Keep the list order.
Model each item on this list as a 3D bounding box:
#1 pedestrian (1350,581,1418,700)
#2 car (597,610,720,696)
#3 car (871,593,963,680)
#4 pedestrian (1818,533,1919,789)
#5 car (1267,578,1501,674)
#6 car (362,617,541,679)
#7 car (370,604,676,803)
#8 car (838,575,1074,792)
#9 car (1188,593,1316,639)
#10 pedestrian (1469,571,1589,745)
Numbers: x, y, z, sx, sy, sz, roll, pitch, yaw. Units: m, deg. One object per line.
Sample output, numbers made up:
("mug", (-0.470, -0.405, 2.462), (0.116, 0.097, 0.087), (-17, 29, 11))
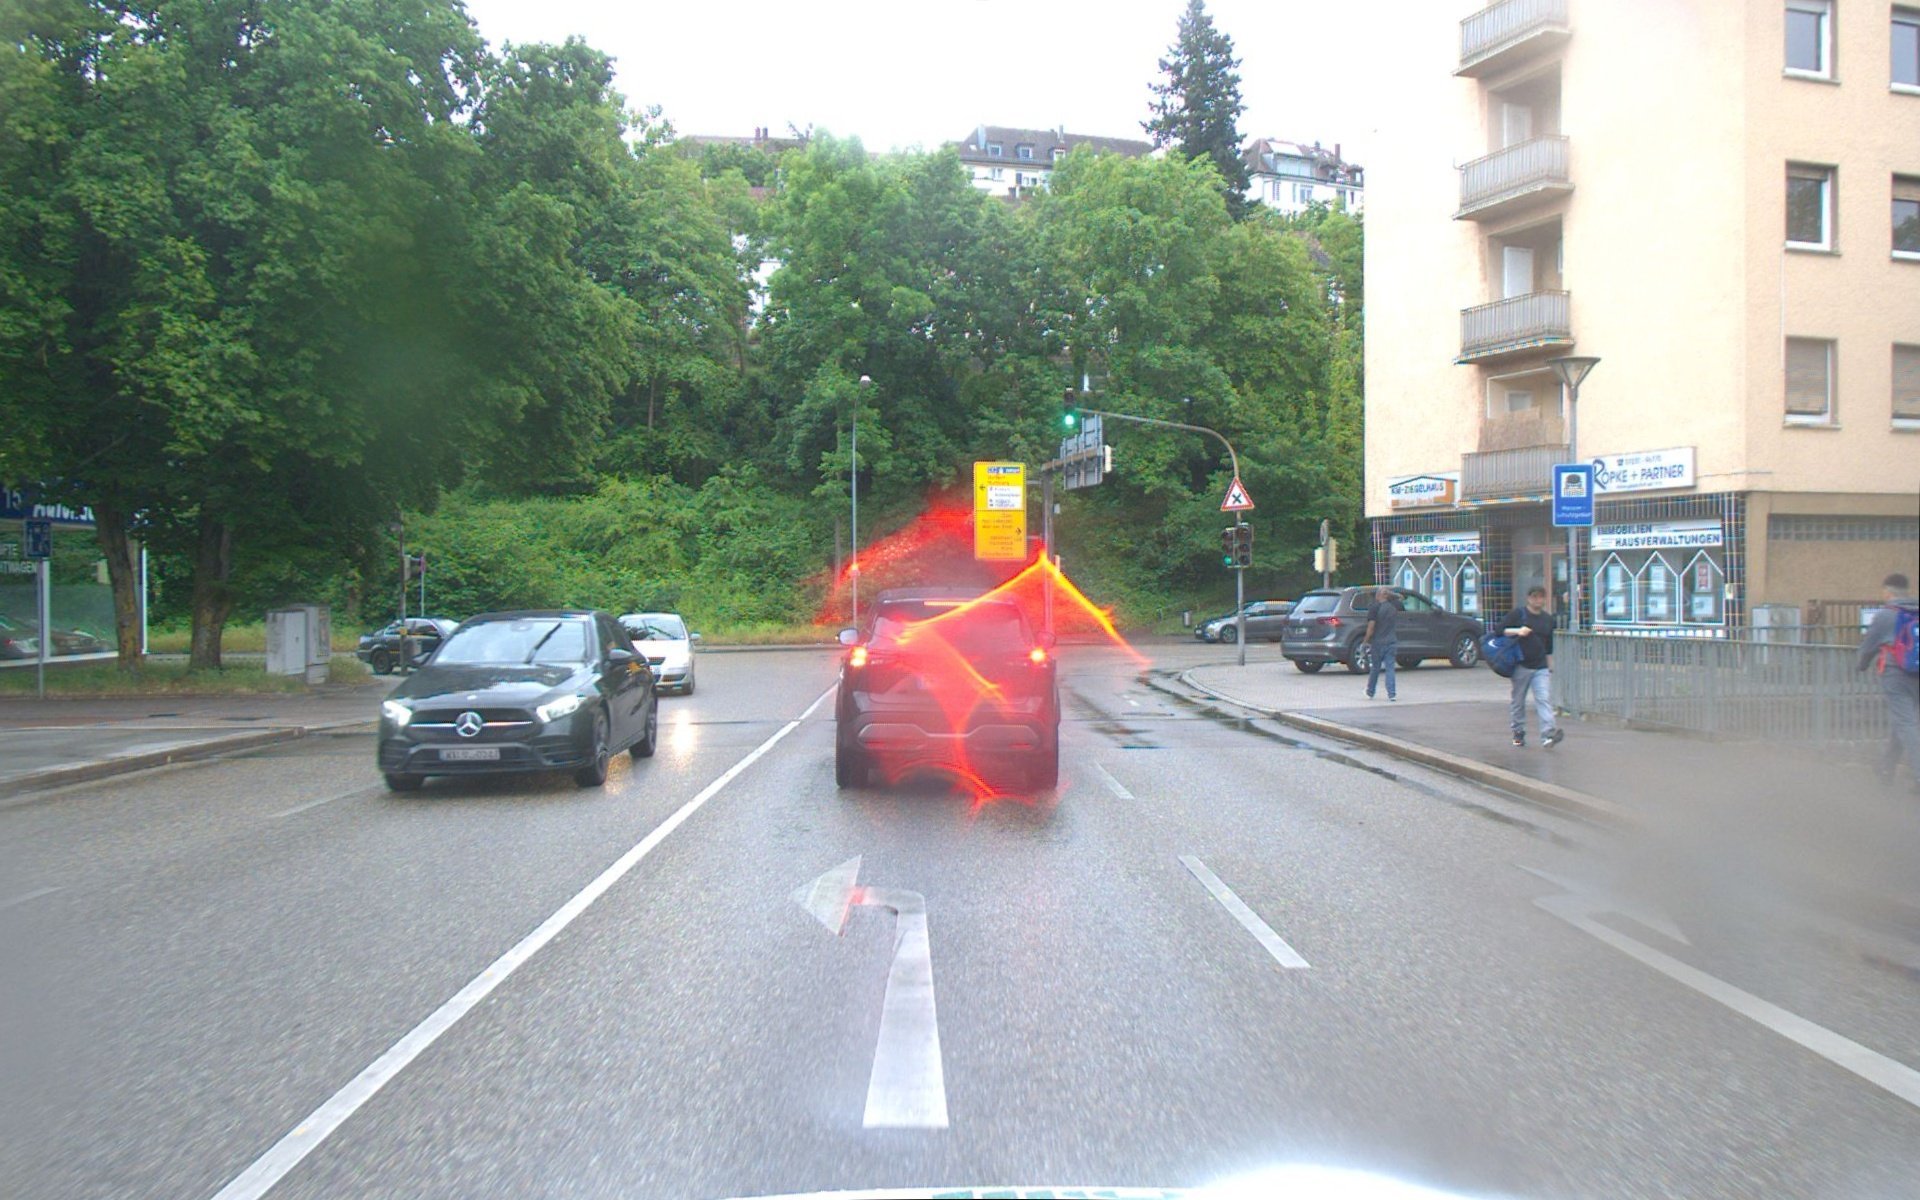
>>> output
("pedestrian", (6.296, 0.584, 24.574), (0.745, 1.706, 0.781), (-2, 1, -1))
("car", (-5.491, 0.927, 30.487), (1.593, 1.444, 3.685), (-1, 0, 0))
("car", (-0.874, 0.708, 34.351), (1.774, 1.631, 3.999), (1, 1, -1))
("pedestrian", (6.999, 0.431, 12.347), (0.745, 1.840, 0.781), (-1, 0, -1))
("car", (8.375, 0.486, 32.619), (4.315, 1.678, 1.867), (-2, 0, -27))
("car", (-13.162, 1.250, 42.781), (4.324, 1.485, 1.733), (-2, -1, 23))
("car", (-3.717, 0.802, 14.797), (1.675, 1.441, 4.093), (-2, 0, -1))
("car", (-0.068, 0.645, 14.515), (1.774, 1.631, 3.999), (0, -1, -1))
("car", (10.751, 0.577, 61.084), (4.249, 1.528, 1.877), (-2, 0, -13))
("pedestrian", (5.590, 0.555, 16.298), (0.845, 1.647, 0.839), (-2, 0, -1))
